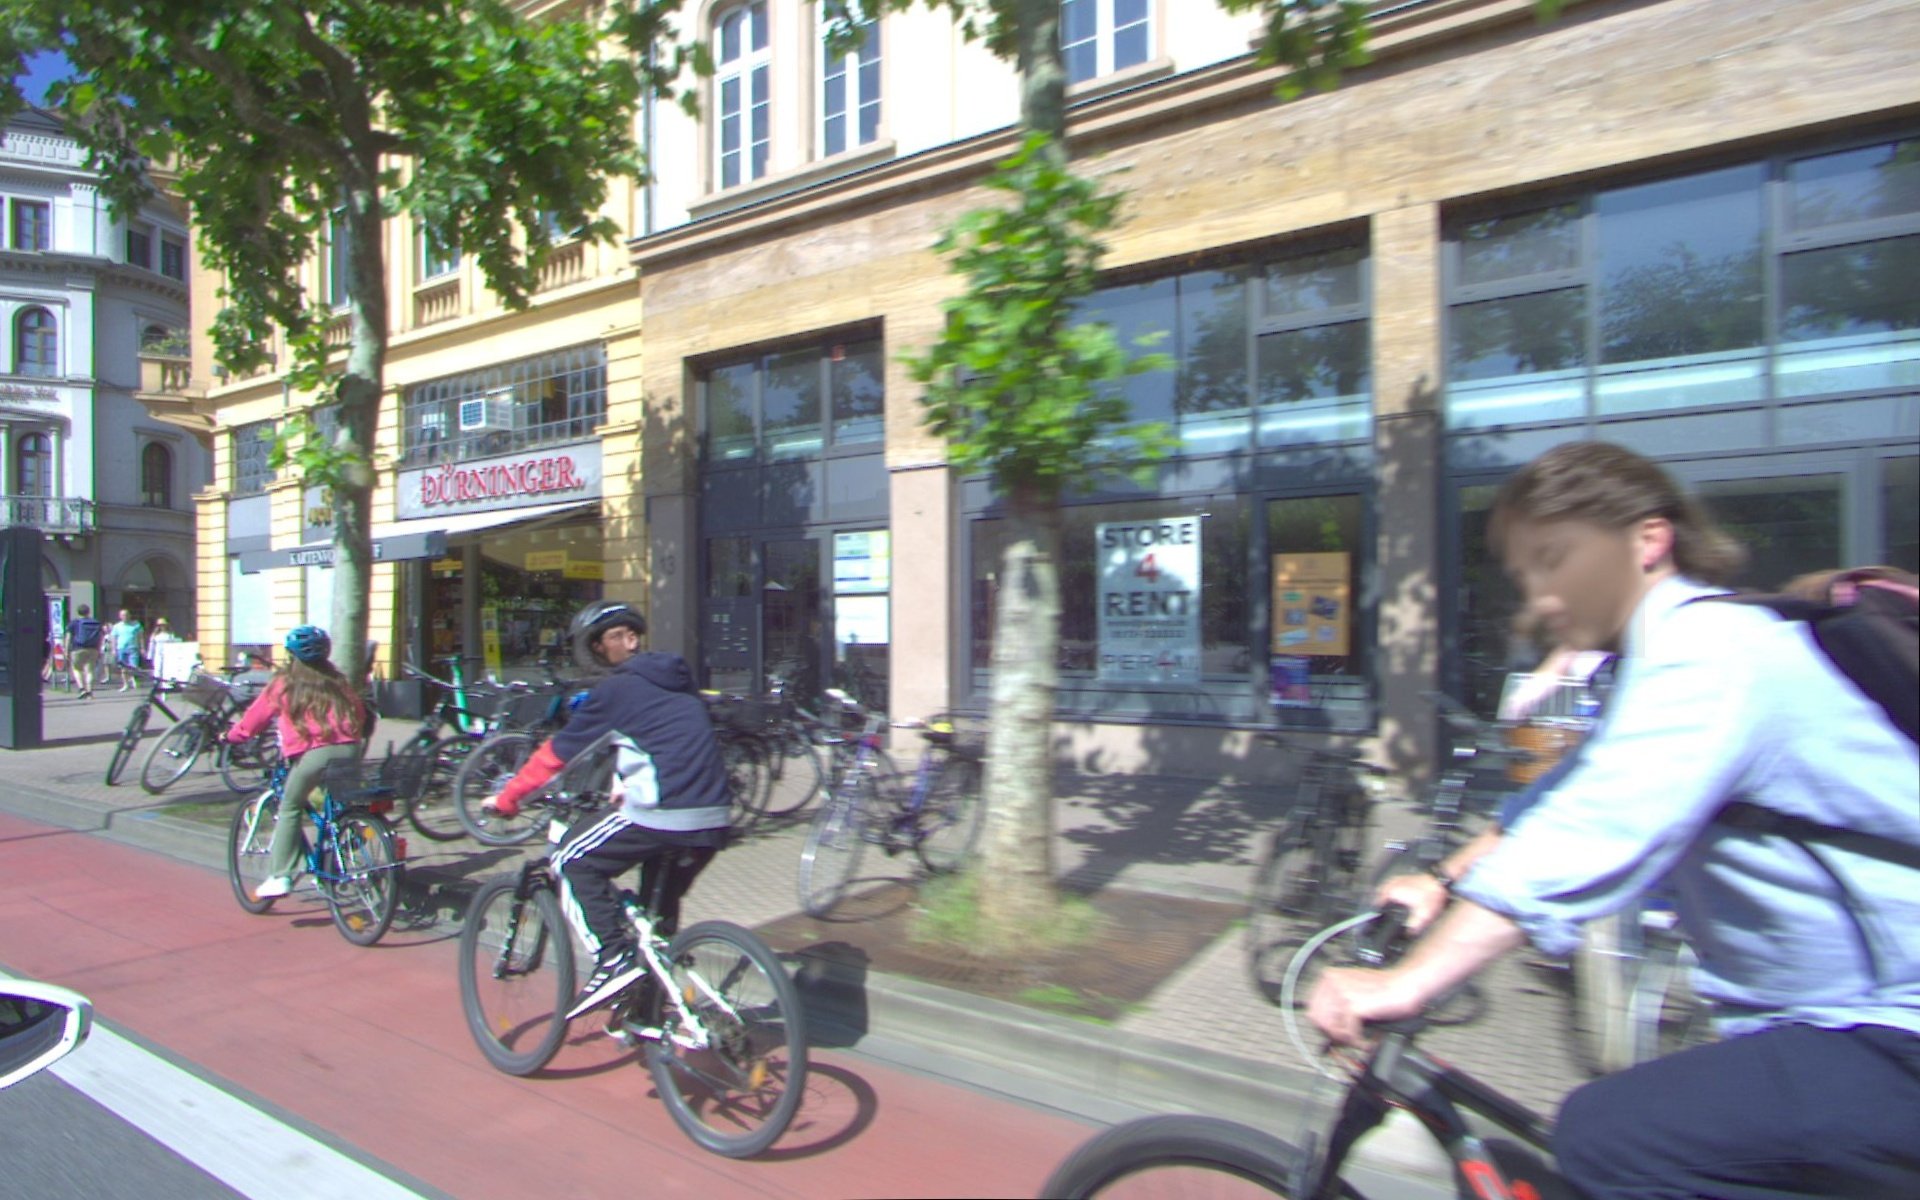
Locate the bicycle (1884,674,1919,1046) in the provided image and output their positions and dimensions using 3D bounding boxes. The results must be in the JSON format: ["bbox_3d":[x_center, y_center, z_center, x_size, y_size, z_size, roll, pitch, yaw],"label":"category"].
[{"bbox_3d":[3.247,0.869,2.978,0.471,1.233,1.724,0,-2,34],"label":"bicycle"}]

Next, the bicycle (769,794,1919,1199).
[{"bbox_3d":[0.770,0.958,1.324,2.049,1.141,0.698,0,-3,29],"label":"bicycle"}]

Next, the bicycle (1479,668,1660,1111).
[{"bbox_3d":[2.330,0.901,3.772,0.471,1.233,1.724,0,-2,34],"label":"bicycle"}]

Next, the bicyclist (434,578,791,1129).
[{"bbox_3d":[-1.074,0.692,3.167,0.778,1.458,0.698,0,-2,29],"label":"bicyclist"}]

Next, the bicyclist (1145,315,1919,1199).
[{"bbox_3d":[0.809,0.492,1.316,0.946,1.464,0.698,0,-2,29],"label":"bicyclist"}]

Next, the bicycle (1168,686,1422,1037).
[{"bbox_3d":[1.515,0.972,4.321,0.598,1.109,1.724,0,-2,34],"label":"bicycle"}]

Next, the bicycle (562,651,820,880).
[{"bbox_3d":[-1.612,0.943,6.264,0.468,1.216,1.645,0,-2,34],"label":"bicycle"}]

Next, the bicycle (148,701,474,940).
[{"bbox_3d":[-3.399,1.044,5.174,2.057,0.937,0.599,-1,-2,32],"label":"bicycle"}]

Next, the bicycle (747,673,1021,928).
[{"bbox_3d":[-0.343,0.985,5.462,0.598,1.109,1.645,0,-2,34],"label":"bicycle"}]

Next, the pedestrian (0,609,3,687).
[{"bbox_3d":[-21.593,1.070,22.122,0.528,1.725,0.521,-1,0,32],"label":"pedestrian"}]

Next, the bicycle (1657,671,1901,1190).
[{"bbox_3d":[2.640,0.886,3.354,0.471,1.233,1.724,0,-2,34],"label":"bicycle"}]

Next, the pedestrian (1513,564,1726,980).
[{"bbox_3d":[2.872,0.688,4.402,0.734,1.633,0.614,0,-1,33],"label":"pedestrian"}]

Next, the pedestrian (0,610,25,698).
[{"bbox_3d":[-18.417,1.036,19.239,0.581,1.661,0.547,-1,0,35],"label":"pedestrian"}]

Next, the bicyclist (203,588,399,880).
[{"bbox_3d":[-3.398,0.649,5.173,0.710,1.375,0.599,-1,-1,32],"label":"bicyclist"}]

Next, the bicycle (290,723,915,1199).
[{"bbox_3d":[-1.207,1.038,3.229,2.049,1.141,0.698,0,-3,29],"label":"bicycle"}]

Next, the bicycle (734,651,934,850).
[{"bbox_3d":[-0.922,0.980,7.010,1.637,1.203,0.470,-1,-2,44],"label":"bicycle"}]

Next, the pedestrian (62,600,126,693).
[{"bbox_3d":[-17.443,0.945,20.173,1.216,1.812,0.656,-2,-2,32],"label":"pedestrian"}]

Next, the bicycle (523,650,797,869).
[{"bbox_3d":[-1.888,0.953,6.591,0.468,1.216,1.840,0,-2,34],"label":"bicycle"}]

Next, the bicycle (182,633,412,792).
[{"bbox_3d":[-6.110,0.977,9.371,0.676,1.325,1.826,0,-2,12],"label":"bicycle"}]

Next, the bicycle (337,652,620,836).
[{"bbox_3d":[-3.547,0.998,7.548,0.650,1.179,1.840,0,-2,34],"label":"bicycle"}]

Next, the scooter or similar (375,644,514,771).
[{"bbox_3d":[-5.078,1.041,9.874,1.208,1.193,0.422,0,-1,12],"label":"scooter or similar"}]

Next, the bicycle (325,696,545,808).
[{"bbox_3d":[-4.400,1.245,8.573,0.646,0.725,1.849,0,-2,11],"label":"bicycle"}]

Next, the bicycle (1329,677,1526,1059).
[{"bbox_3d":[1.983,0.938,4.121,0.471,1.176,1.724,0,-2,34],"label":"bicycle"}]

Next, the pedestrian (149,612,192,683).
[{"bbox_3d":[-18.143,1.077,23.011,0.578,1.589,0.550,-1,0,-12],"label":"pedestrian"}]

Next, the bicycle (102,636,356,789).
[{"bbox_3d":[-6.770,0.980,9.426,0.692,1.273,1.938,0,-2,13],"label":"bicycle"}]

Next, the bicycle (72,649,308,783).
[{"bbox_3d":[-7.515,1.080,9.871,0.554,1.137,1.780,0,-1,29],"label":"bicycle"}]

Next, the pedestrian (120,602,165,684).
[{"bbox_3d":[-18.343,0.954,22.480,0.578,1.825,0.550,-1,0,-12],"label":"pedestrian"}]

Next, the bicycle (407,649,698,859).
[{"bbox_3d":[-2.683,0.951,6.816,0.537,1.216,1.840,0,-2,34],"label":"bicycle"}]

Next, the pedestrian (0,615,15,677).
[{"bbox_3d":[-25.961,1.221,26.922,0.667,1.640,0.609,2,0,30],"label":"pedestrian"}]

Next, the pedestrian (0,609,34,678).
[{"bbox_3d":[-25.646,1.178,27.162,0.668,1.830,0.609,-1,-1,30],"label":"pedestrian"}]

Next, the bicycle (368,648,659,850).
[{"bbox_3d":[-3.085,0.964,7.114,0.600,1.216,1.840,0,-2,34],"label":"bicycle"}]
